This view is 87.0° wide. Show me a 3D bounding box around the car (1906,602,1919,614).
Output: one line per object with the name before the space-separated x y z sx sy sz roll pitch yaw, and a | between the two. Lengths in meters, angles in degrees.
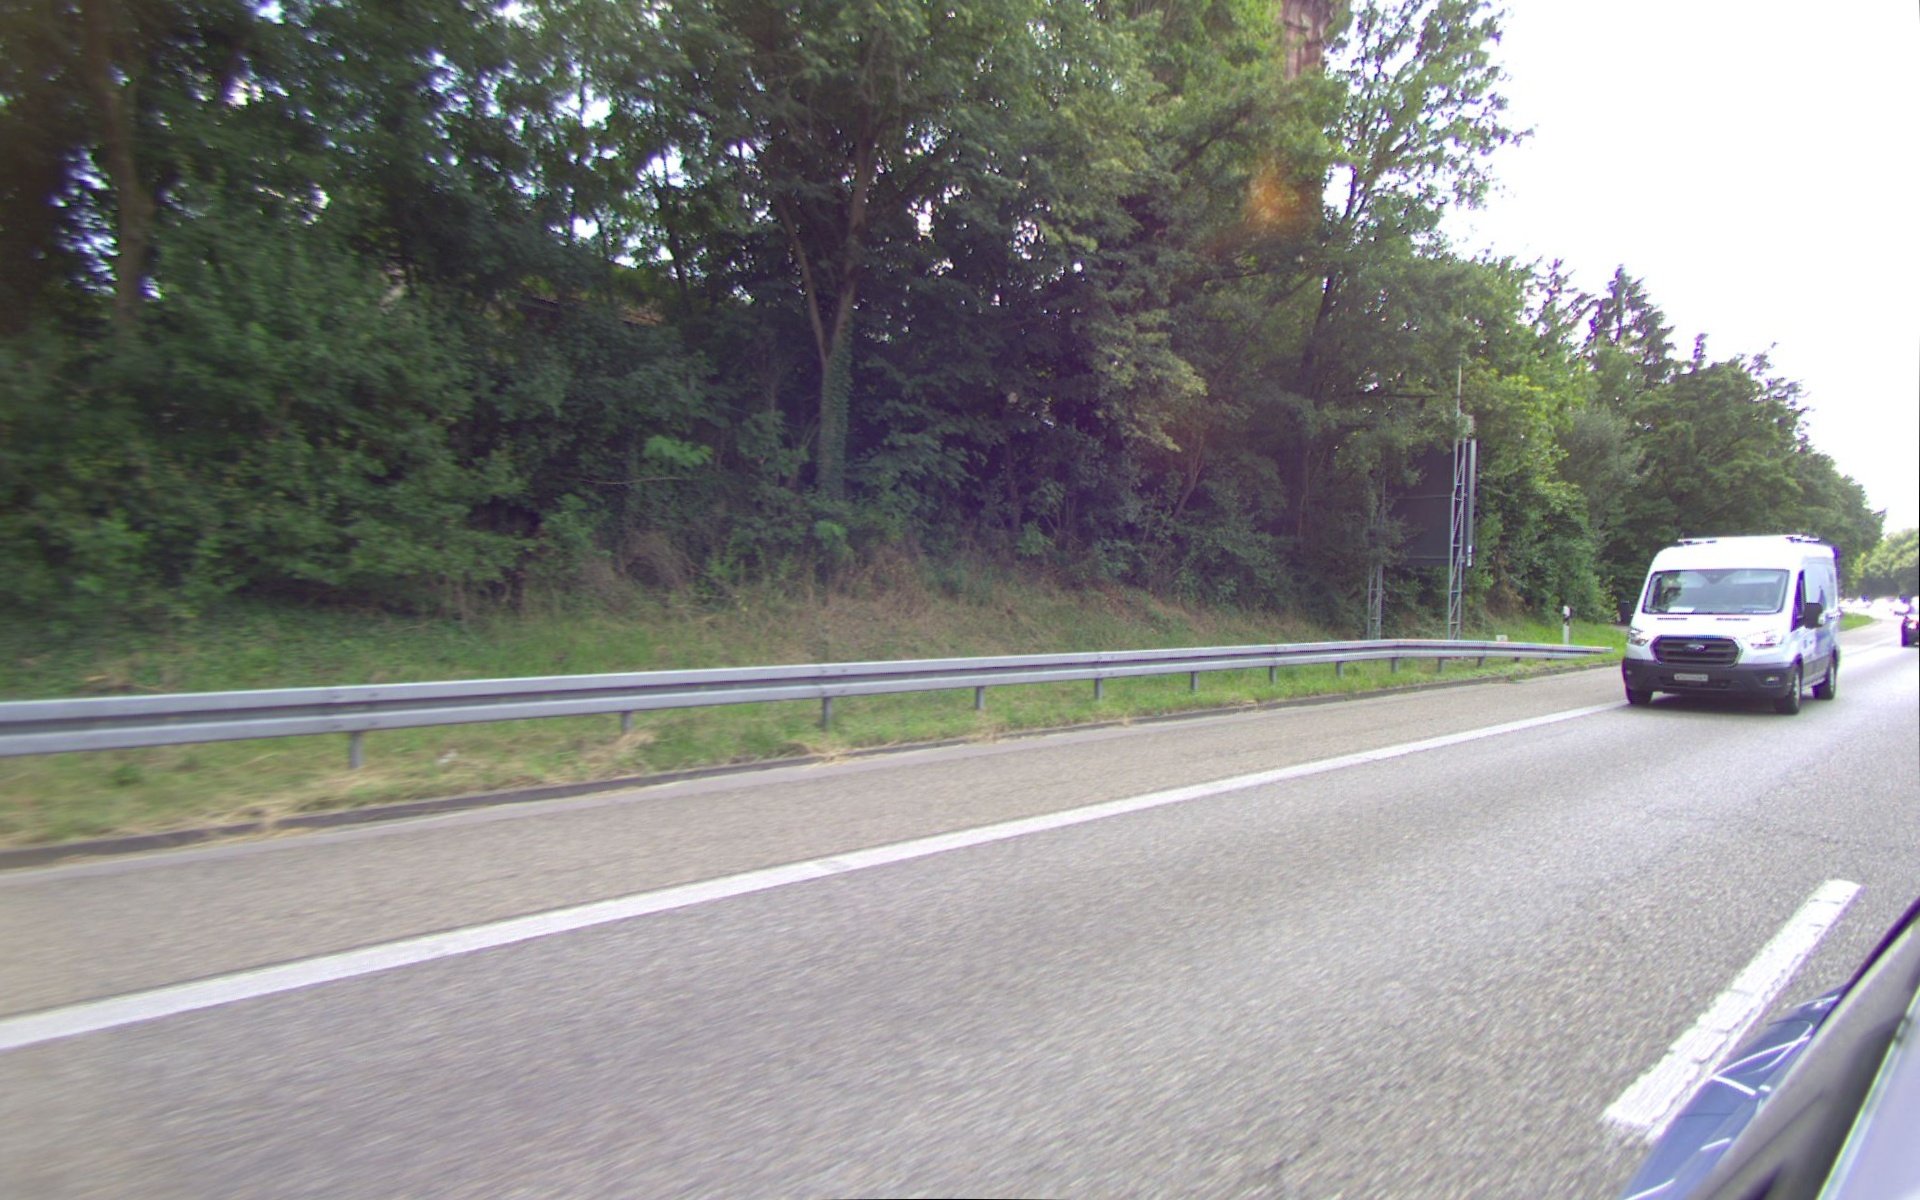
car | 127.033 1.035 134.615 1.781 1.540 3.937 2 1 44

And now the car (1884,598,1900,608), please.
car | 153.598 0.500 166.867 1.779 1.540 3.940 2 1 41

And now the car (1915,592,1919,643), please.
car | 37.055 0.625 37.708 4.322 1.828 1.905 0 0 -44

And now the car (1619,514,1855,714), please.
car | 11.989 0.177 15.466 5.191 2.539 2.100 0 0 -44
